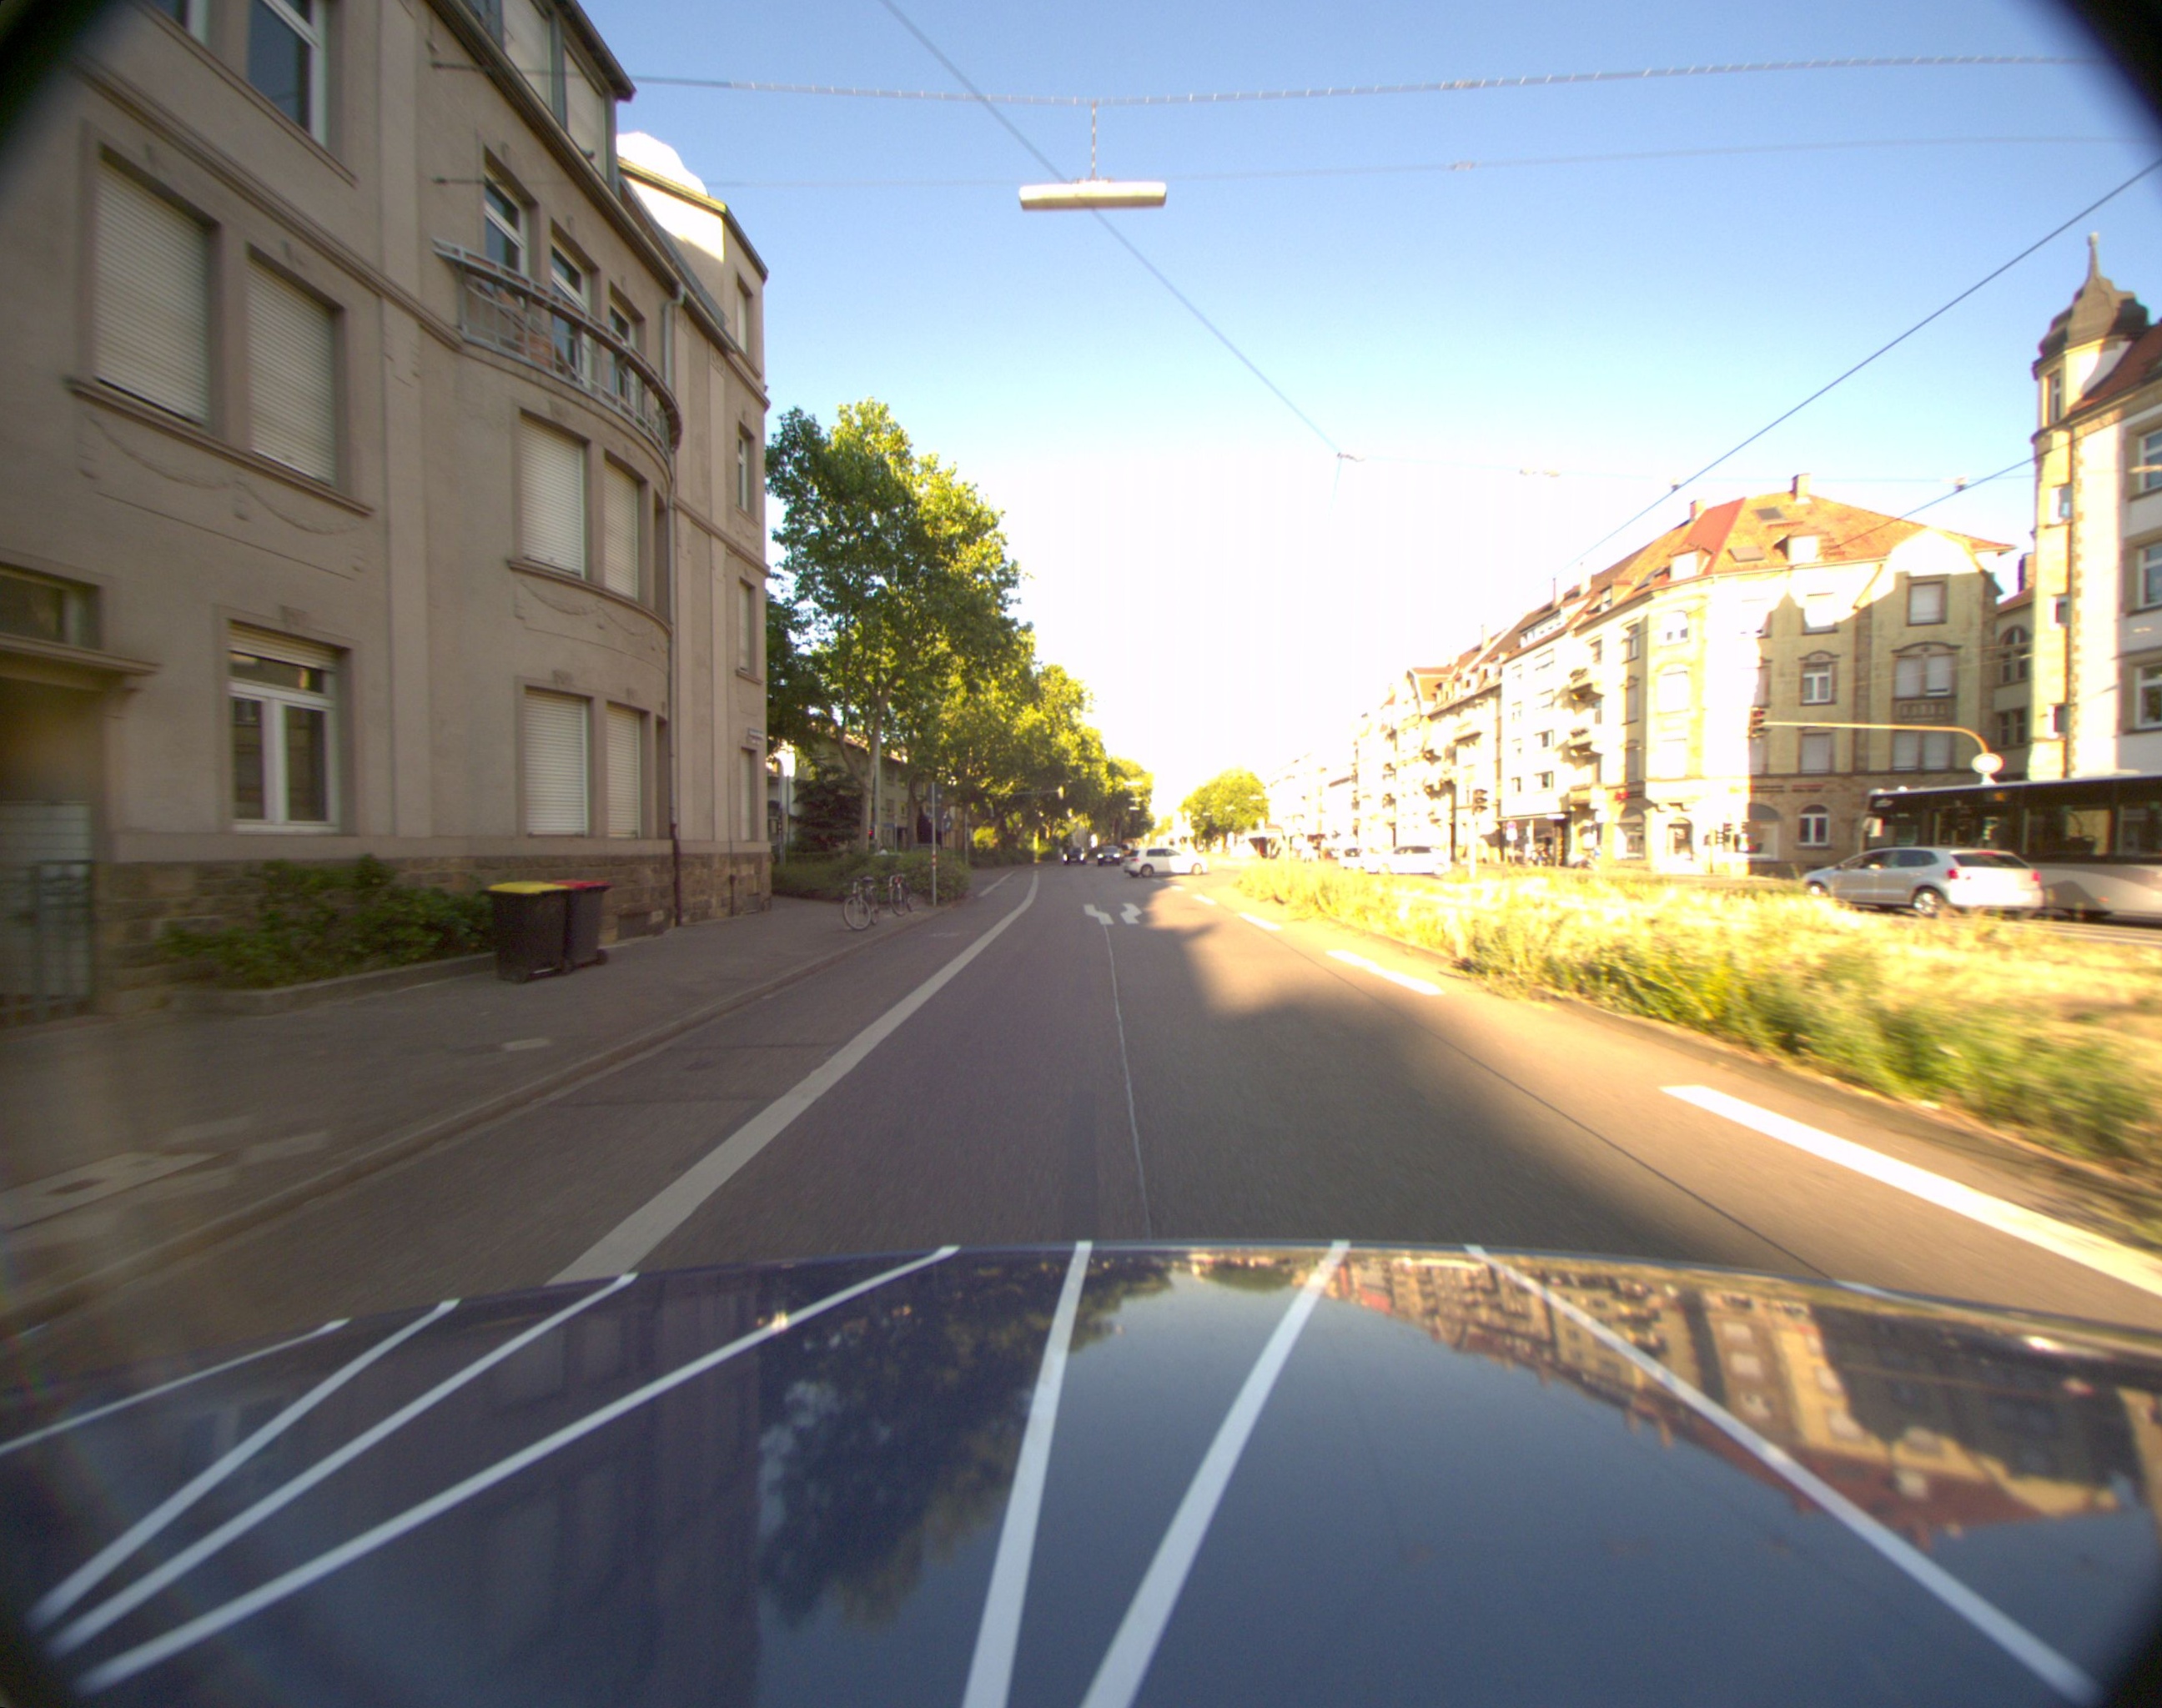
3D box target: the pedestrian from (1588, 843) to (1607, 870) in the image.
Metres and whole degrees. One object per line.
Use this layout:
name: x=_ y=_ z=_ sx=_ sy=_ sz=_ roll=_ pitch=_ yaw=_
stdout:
pedestrian: x=31.486 y=0.126 z=46.287 sx=0.630 sy=1.631 sz=0.770 roll=0 pitch=1 yaw=3

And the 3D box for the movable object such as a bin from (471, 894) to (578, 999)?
movable object such as a bin: x=-6.128 y=0.999 z=8.386 sx=0.656 sy=1.040 sz=0.660 roll=1 pitch=2 yaw=17

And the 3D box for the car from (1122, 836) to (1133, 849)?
car: x=8.305 y=-2.008 z=135.907 sx=1.877 sy=2.279 sz=4.001 roll=0 pitch=1 yaw=4

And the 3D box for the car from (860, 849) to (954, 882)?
car: x=-8.424 y=0.523 z=36.963 sx=4.050 sy=1.517 sz=1.782 roll=0 pitch=2 yaw=10

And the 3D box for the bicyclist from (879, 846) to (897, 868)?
bicyclist: x=-10.784 y=0.162 z=42.454 sx=0.766 sy=1.229 sz=0.661 roll=0 pitch=2 yaw=8

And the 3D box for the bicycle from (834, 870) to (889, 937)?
bicycle: x=-4.043 y=0.882 z=14.103 sx=0.438 sy=1.092 sz=1.932 roll=0 pitch=1 yaw=0

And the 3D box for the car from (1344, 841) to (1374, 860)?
car: x=28.979 y=-0.409 z=79.434 sx=1.918 sy=1.889 sz=4.310 roll=0 pitch=2 yaw=6

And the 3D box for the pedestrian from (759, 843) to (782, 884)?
pedestrian: x=-13.924 y=0.401 z=34.106 sx=0.665 sy=1.796 sz=0.703 roll=0 pitch=2 yaw=12

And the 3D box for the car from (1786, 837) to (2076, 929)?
car: x=17.732 y=0.499 z=16.213 sx=1.934 sy=1.674 sz=4.001 roll=0 pitch=2 yaw=7

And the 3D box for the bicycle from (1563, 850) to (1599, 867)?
bicycle: x=32.110 y=0.288 z=48.841 sx=0.667 sy=1.050 sz=2.503 roll=0 pitch=1 yaw=1

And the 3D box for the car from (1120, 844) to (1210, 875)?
car: x=4.171 y=0.261 z=37.941 sx=4.113 sy=1.442 sz=1.841 roll=-1 pitch=2 yaw=-15

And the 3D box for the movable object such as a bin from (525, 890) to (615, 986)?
movable object such as a bin: x=-6.090 y=0.980 z=9.080 sx=0.570 sy=1.040 sz=0.660 roll=1 pitch=2 yaw=17

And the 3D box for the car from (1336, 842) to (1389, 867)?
car: x=17.193 y=0.011 z=46.264 sx=1.732 sy=1.471 sz=3.822 roll=1 pitch=2 yaw=42

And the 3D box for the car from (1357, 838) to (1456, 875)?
car: x=15.588 y=0.082 z=36.588 sx=3.994 sy=1.696 sz=1.836 roll=0 pitch=2 yaw=7

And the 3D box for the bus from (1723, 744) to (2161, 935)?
bus: x=20.930 y=-0.408 z=18.150 sx=3.272 sy=3.355 sz=9.898 roll=0 pitch=2 yaw=4

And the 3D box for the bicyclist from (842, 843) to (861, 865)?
bicyclist: x=-12.231 y=-0.003 z=40.580 sx=0.766 sy=1.151 sz=0.612 roll=0 pitch=2 yaw=8

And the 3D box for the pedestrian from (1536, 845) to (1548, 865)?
pedestrian: x=32.153 y=0.062 z=52.997 sx=0.553 sy=1.355 sz=0.555 roll=0 pitch=1 yaw=4

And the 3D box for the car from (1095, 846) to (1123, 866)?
car: x=2.398 y=0.171 z=64.282 sx=1.877 sy=1.587 sz=4.002 roll=0 pitch=1 yaw=8

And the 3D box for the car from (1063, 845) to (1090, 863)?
car: x=-0.413 y=-0.048 z=69.762 sx=1.877 sy=1.587 sz=4.002 roll=0 pitch=1 yaw=8

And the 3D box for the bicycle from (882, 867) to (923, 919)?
bicycle: x=-4.005 y=0.851 z=17.179 sx=0.370 sy=1.062 sz=1.874 roll=0 pitch=1 yaw=4

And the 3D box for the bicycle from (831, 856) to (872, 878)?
bicycle: x=-12.251 y=0.675 z=40.617 sx=1.922 sy=1.099 sz=0.653 roll=-2 pitch=2 yaw=8
